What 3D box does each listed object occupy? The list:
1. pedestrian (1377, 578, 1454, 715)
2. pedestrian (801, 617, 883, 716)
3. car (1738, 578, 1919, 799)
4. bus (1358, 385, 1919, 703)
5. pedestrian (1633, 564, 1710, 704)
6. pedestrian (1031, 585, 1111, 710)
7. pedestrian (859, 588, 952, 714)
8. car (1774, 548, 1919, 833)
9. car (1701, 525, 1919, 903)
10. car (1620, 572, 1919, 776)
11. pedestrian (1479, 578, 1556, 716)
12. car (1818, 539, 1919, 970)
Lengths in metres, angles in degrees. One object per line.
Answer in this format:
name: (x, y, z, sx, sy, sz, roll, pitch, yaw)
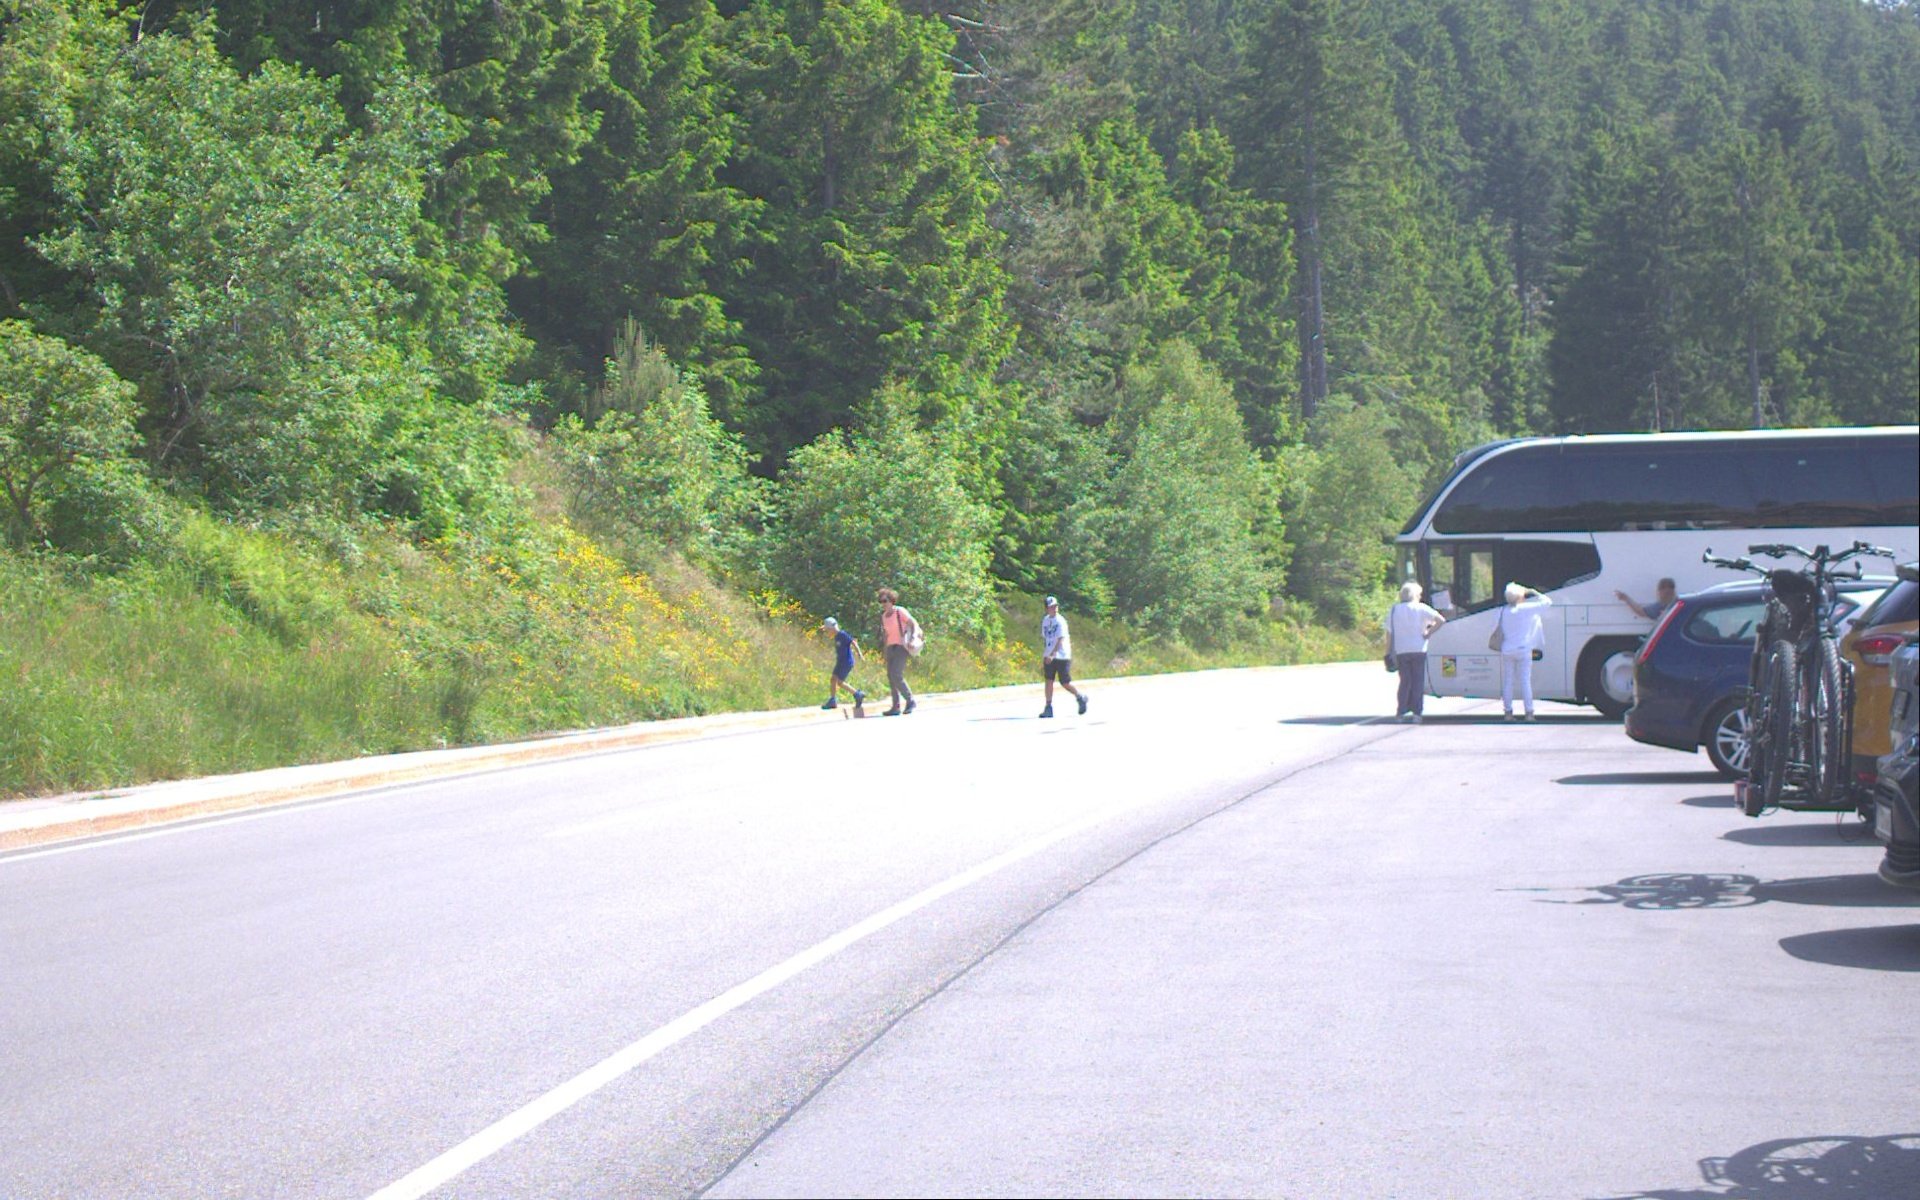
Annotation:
pedestrian: (5.396, 0.546, 40.698, 0.771, 1.580, 0.772, -2, 0, 15)
pedestrian: (-1.576, 0.889, 45.953, 0.782, 1.275, 0.735, -2, 0, 30)
car: (7.311, 0.529, 22.909, 3.988, 1.393, 1.619, -2, 0, 9)
bus: (11.549, -0.730, 40.839, 13.105, 3.520, 3.041, -2, 0, 19)
pedestrian: (8.262, 0.390, 39.927, 0.770, 1.580, 0.772, -2, 0, 16)
pedestrian: (1.427, 0.606, 44.442, 0.853, 1.580, 0.818, -2, 0, -9)
pedestrian: (-0.744, 0.689, 46.771, 0.854, 1.677, 0.869, -2, 0, -44)
car: (6.727, 0.437, 19.381, 3.988, 1.548, 1.659, -2, 0, 9)
car: (6.079, 0.429, 15.841, 5.035, 1.645, 2.047, -2, 0, 9)
car: (7.123, 0.521, 26.196, 3.988, 1.444, 1.860, -2, 0, 9)
pedestrian: (6.536, 0.547, 40.275, 0.771, 1.580, 0.772, -2, 0, 15)
car: (5.535, 0.484, 12.990, 4.245, 1.548, 1.837, -2, 0, 9)
